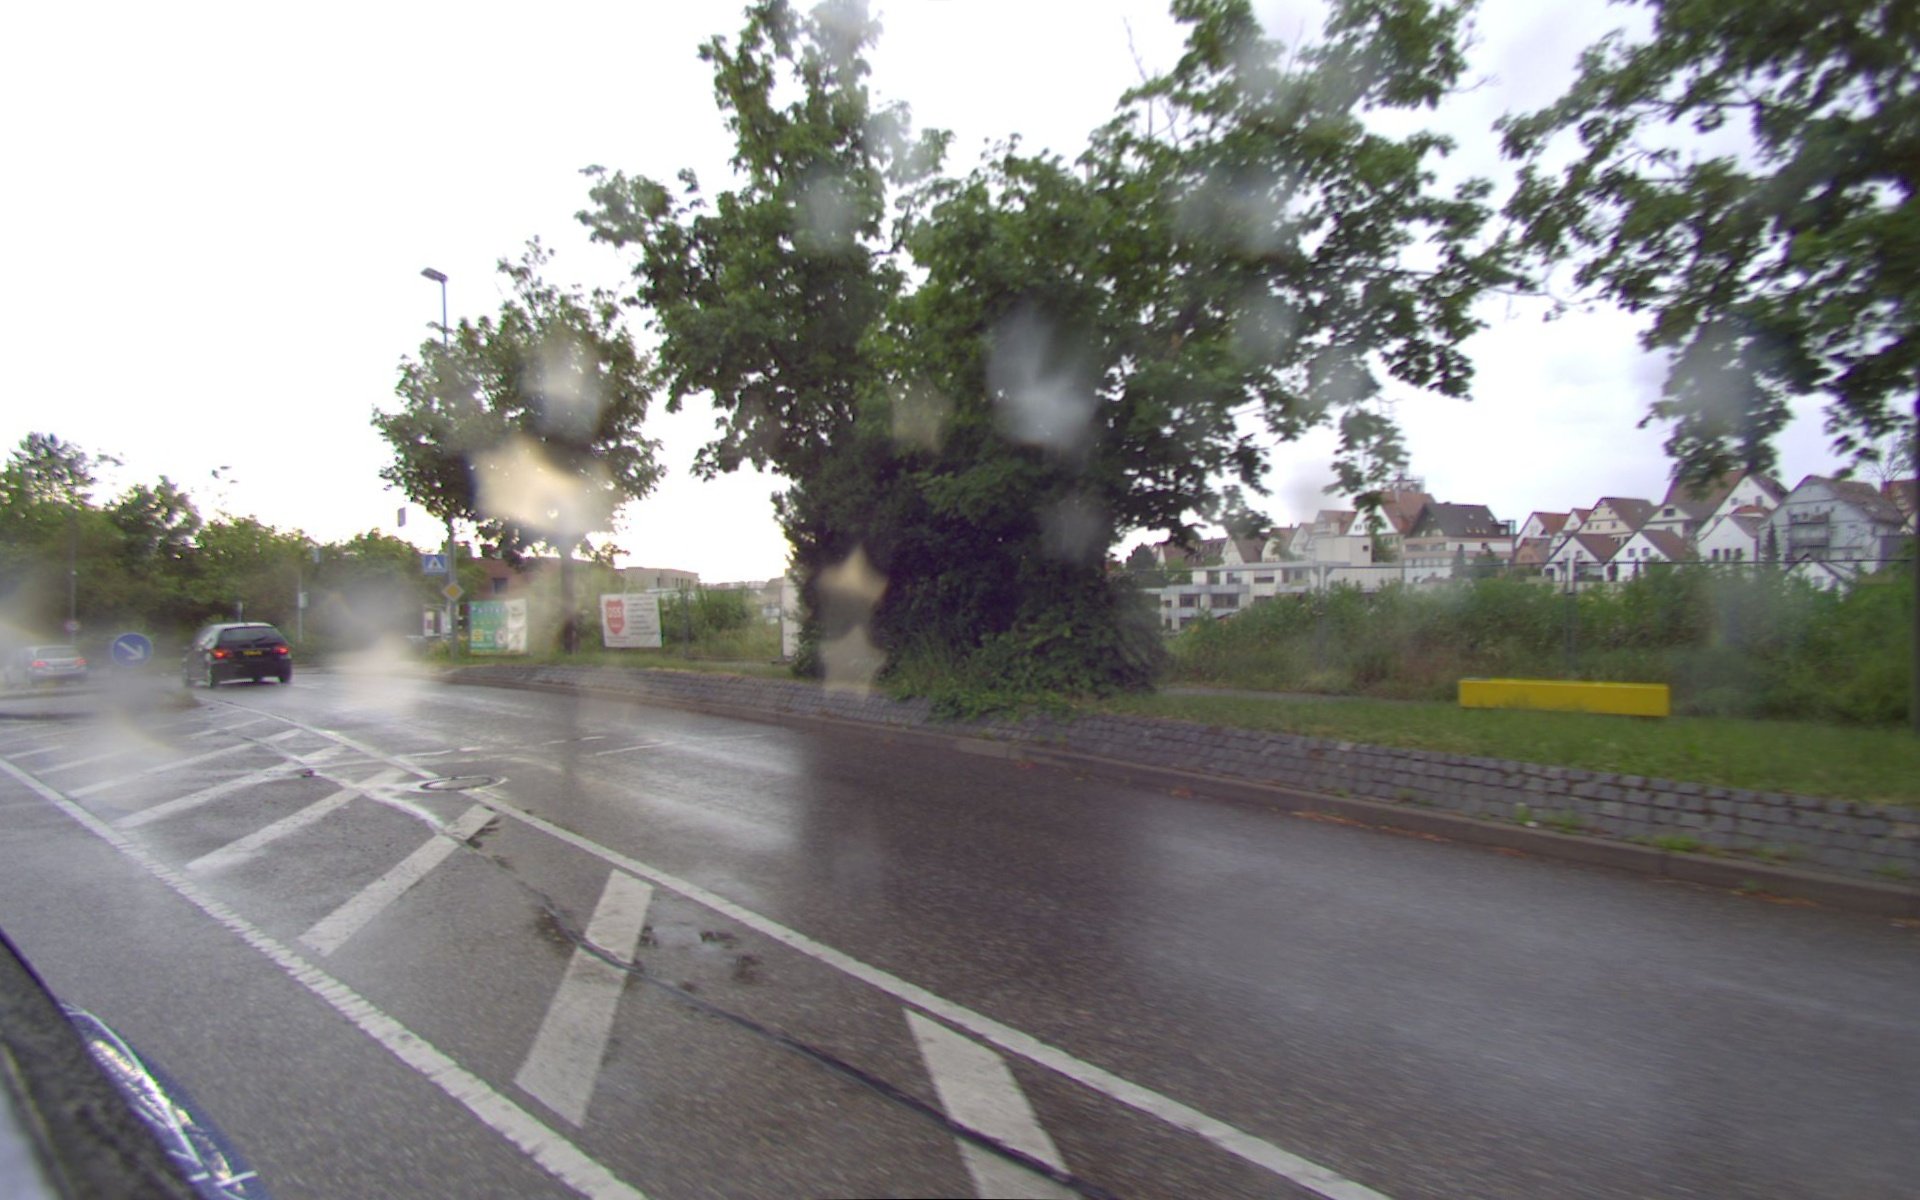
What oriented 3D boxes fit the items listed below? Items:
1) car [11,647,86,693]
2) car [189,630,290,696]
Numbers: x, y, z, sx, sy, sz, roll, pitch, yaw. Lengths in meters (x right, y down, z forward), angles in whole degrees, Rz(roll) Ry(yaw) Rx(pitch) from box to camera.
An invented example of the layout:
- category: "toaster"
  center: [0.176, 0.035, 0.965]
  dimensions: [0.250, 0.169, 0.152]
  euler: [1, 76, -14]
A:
- category: "car"
  center: [-35.707, 2.704, 39.599]
  dimensions: [4.153, 1.563, 1.627]
  euler: [-3, 2, 41]
- category: "car"
  center: [-18.963, 1.607, 26.578]
  dimensions: [1.621, 1.532, 4.074]
  euler: [-1, -1, -43]
